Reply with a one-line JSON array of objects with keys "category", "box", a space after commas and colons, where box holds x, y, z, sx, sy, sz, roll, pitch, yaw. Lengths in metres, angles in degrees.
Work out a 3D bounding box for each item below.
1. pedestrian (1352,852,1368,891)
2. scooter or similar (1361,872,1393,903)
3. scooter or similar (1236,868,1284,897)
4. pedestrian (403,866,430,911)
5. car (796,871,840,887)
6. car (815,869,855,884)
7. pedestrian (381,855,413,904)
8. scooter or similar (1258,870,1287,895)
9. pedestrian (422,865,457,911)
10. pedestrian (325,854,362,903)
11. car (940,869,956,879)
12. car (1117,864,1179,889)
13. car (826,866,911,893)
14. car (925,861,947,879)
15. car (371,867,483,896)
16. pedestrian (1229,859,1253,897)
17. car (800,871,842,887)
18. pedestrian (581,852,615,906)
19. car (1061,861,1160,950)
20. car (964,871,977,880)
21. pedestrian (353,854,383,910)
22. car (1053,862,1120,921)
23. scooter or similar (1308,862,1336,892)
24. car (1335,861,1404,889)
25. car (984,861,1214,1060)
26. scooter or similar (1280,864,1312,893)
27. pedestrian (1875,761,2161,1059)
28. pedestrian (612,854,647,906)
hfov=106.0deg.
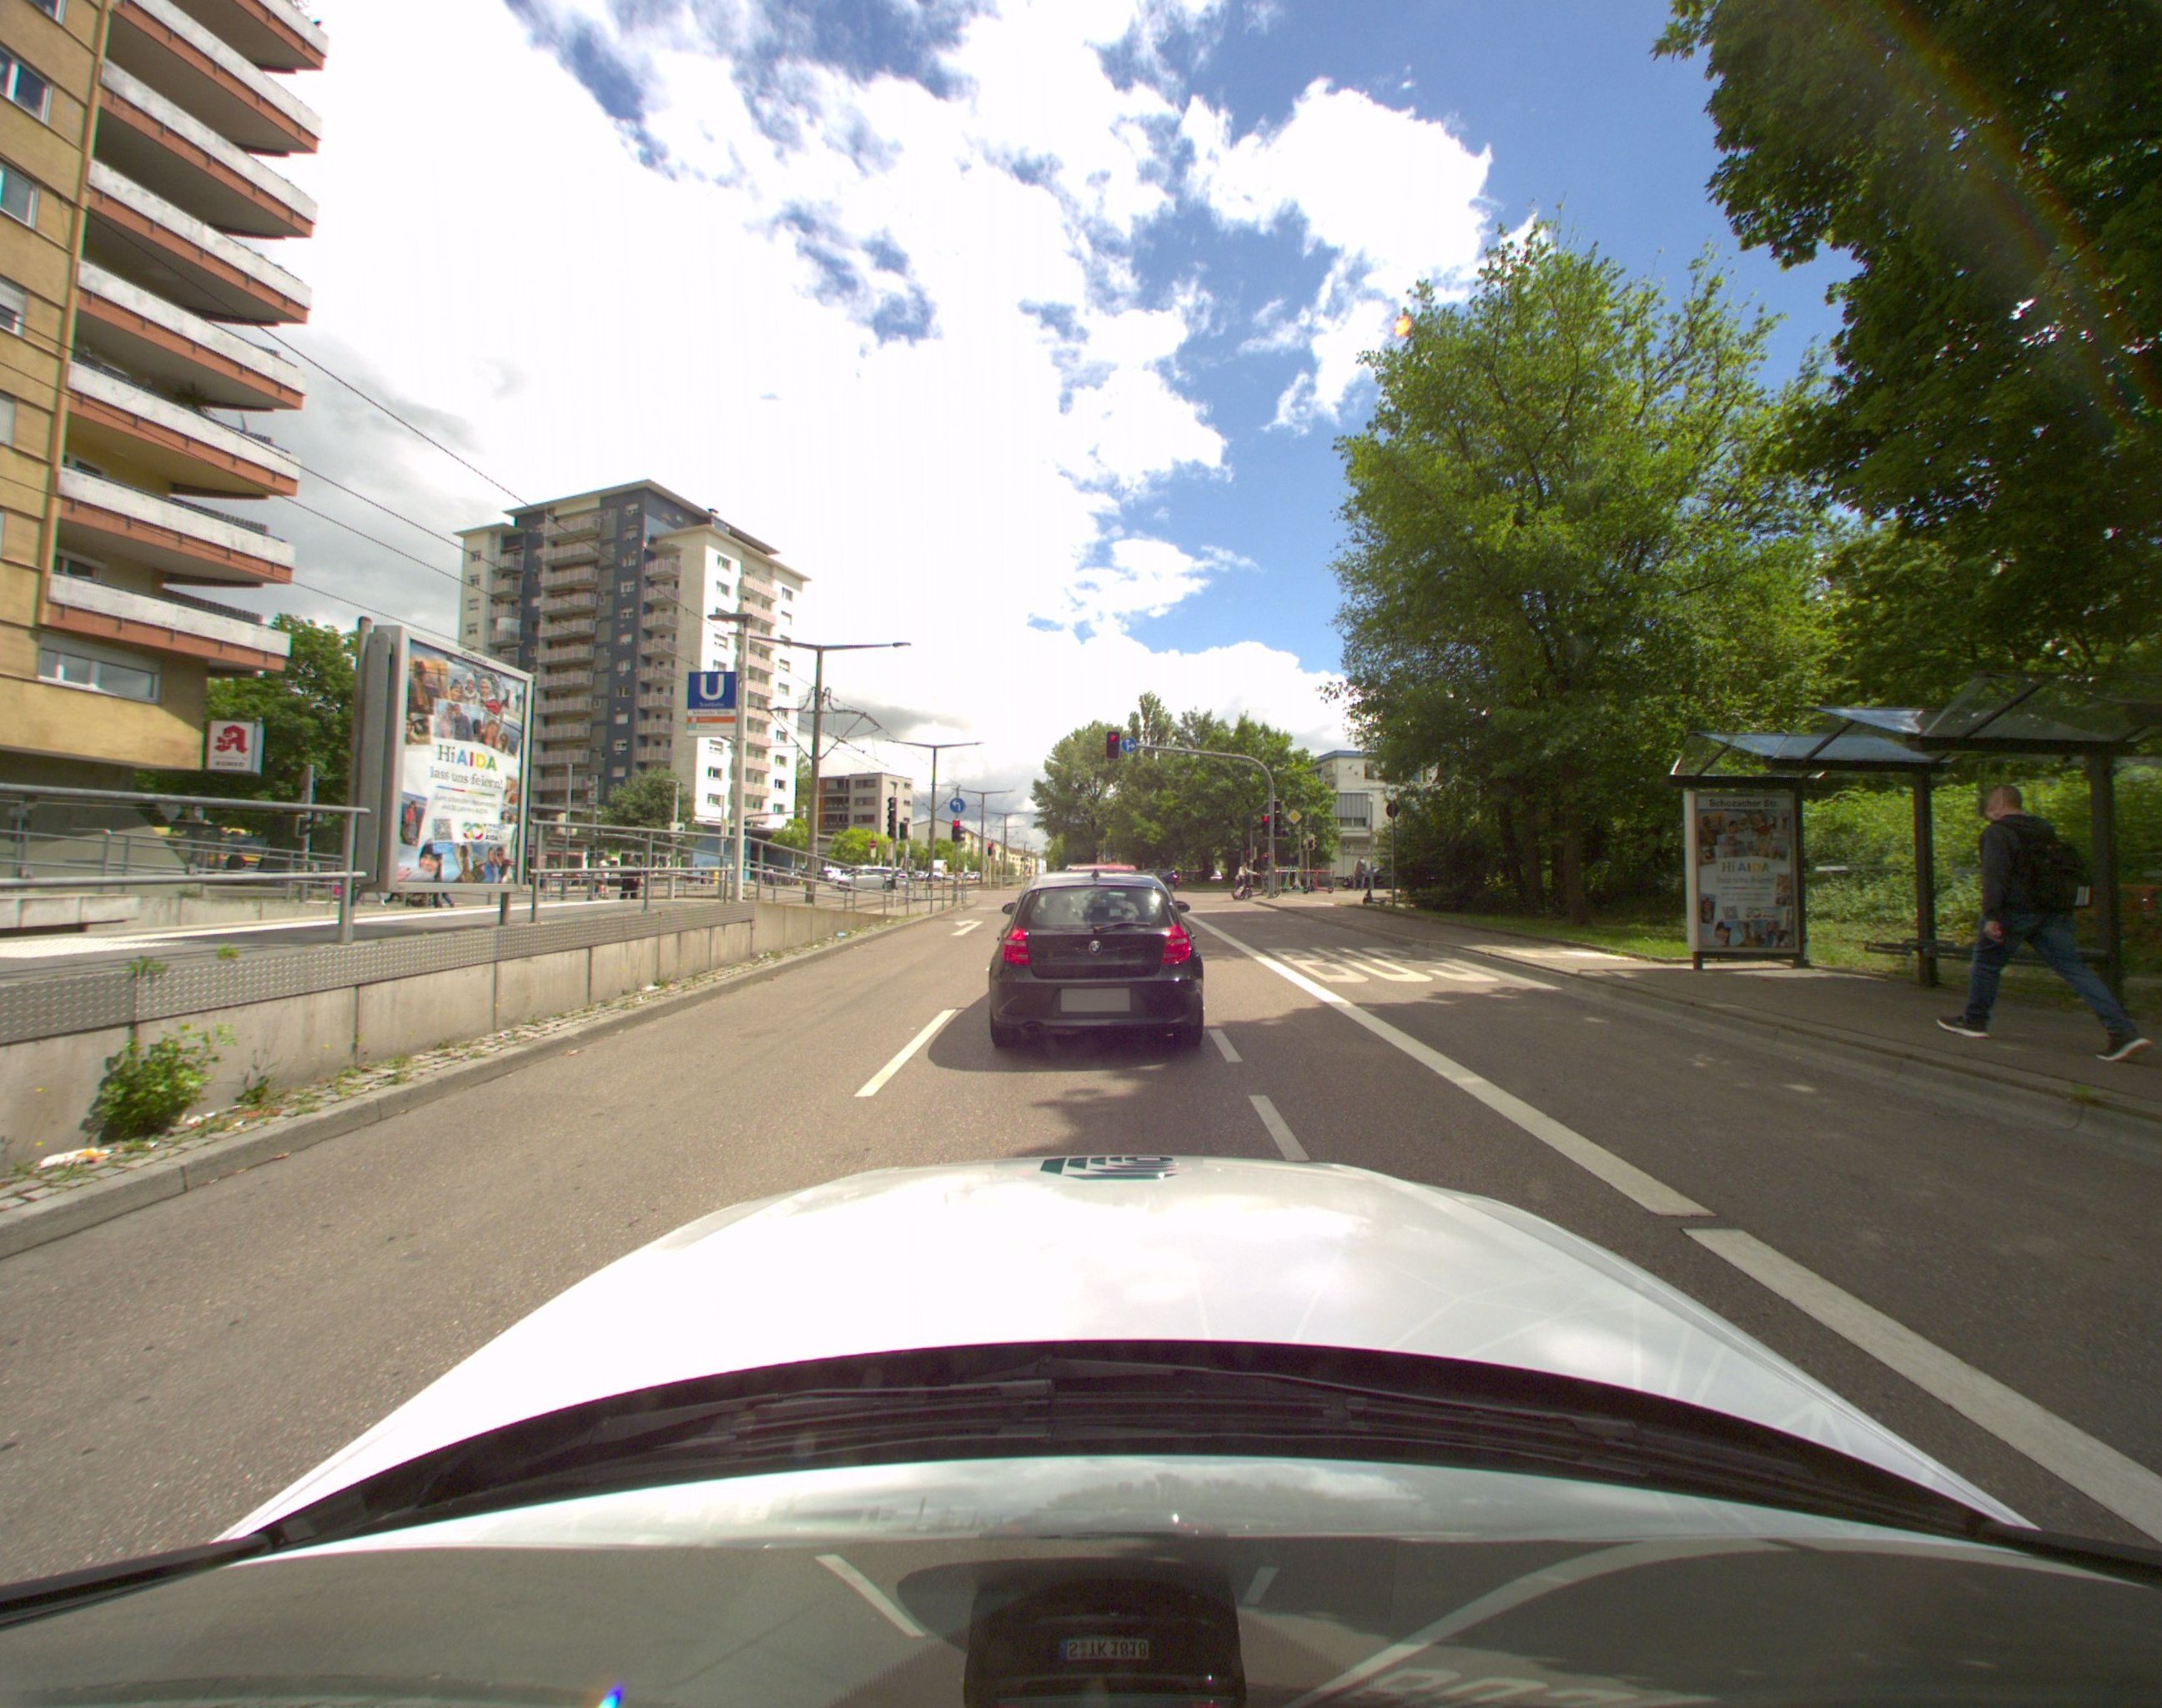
[{"category": "pedestrian", "box": [13.277, 0.821, 38.741, 0.608, 1.790, 0.571, 3, -1, 20]}, {"category": "scooter or similar", "box": [10.779, 1.206, 29.640, 1.153, 1.099, 0.329, 0, -1, -22]}, {"category": "scooter or similar", "box": [6.816, 1.086, 31.062, 1.783, 1.051, 0.408, -1, 0, -15]}, {"category": "pedestrian", "box": [-20.228, 1.026, 24.796, 0.660, 1.343, 0.558, -1, -1, 44]}, {"category": "car", "box": [-24.404, 2.310, 75.598, 3.600, 1.462, 1.612, -1, -1, -7]}, {"category": "car", "box": [-25.300, 2.276, 83.815, 3.599, 1.462, 1.613, 1, -1, -7]}, {"category": "pedestrian", "box": [-22.312, 0.814, 26.557, 0.849, 1.578, 0.627, -1, -1, 38]}, {"category": "scooter or similar", "box": [7.729, 1.138, 32.833, 1.121, 0.957, 0.299, -1, -1, -14]}, {"category": "pedestrian", "box": [-19.267, 1.002, 24.469, 0.691, 1.343, 0.852, 0, -1, -29]}, {"category": "pedestrian", "box": [-23.938, 0.784, 26.441, 0.602, 1.583, 0.779, -1, -1, 37]}, {"category": "car", "box": [-21.541, 3.233, 132.159, 1.960, 1.596, 3.999, 0, -1, 0]}, {"category": "car", "box": [4.141, 1.407, 50.536, 3.600, 1.462, 1.612, -1, -1, -7]}, {"category": "car", "box": [-12.677, 1.495, 48.809, 4.633, 1.480, 1.996, -1, -1, -6]}, {"category": "car", "box": [-21.047, 2.290, 118.474, 2.132, 2.640, 5.358, 0, -1, 0]}, {"category": "car", "box": [-37.208, 1.558, 46.438, 4.571, 1.526, 1.939, -1, -1, -9]}, {"category": "pedestrian", "box": [6.197, 0.932, 31.507, 0.859, 1.442, 0.801, -1, -1, 11]}, {"category": "car", "box": [-25.460, 2.463, 79.885, 3.600, 1.462, 1.612, -1, -1, -7]}, {"category": "pedestrian", "box": [-15.273, 0.776, 25.752, 0.862, 1.696, 0.683, 0, -1, -26]}, {"category": "car", "box": [0.559, 0.859, 14.983, 1.588, 1.419, 3.519, 0, 0, 2]}, {"category": "car", "box": [-20.726, 3.957, 152.508, 1.960, 1.596, 3.999, 0, -1, 0]}, {"category": "pedestrian", "box": [-22.201, 0.847, 25.369, 0.685, 1.706, 0.817, 0, -1, -42]}, {"category": "car", "box": [0.140, 0.946, 21.944, 1.649, 1.419, 3.516, 0, 0, 0]}, {"category": "scooter or similar", "box": [10.317, 0.962, 34.887, 1.107, 1.258, 0.331, -1, -1, -10]}, {"category": "car", "box": [17.401, 1.257, 49.140, 3.578, 1.601, 1.705, 0, -1, -11]}, {"category": "car", "box": [0.238, 0.784, 7.623, 1.647, 1.419, 3.520, -1, 0, 4]}, {"category": "scooter or similar", "box": [8.995, 1.008, 34.080, 1.290, 1.189, 0.383, -1, -1, -14]}, {"category": "pedestrian", "box": [6.687, 0.360, 5.833, 0.798, 1.895, 1.271, 1, -1, 3]}, {"category": "pedestrian", "box": [-14.544, 0.839, 26.240, 0.632, 1.633, 0.705, -1, -1, 11]}]
